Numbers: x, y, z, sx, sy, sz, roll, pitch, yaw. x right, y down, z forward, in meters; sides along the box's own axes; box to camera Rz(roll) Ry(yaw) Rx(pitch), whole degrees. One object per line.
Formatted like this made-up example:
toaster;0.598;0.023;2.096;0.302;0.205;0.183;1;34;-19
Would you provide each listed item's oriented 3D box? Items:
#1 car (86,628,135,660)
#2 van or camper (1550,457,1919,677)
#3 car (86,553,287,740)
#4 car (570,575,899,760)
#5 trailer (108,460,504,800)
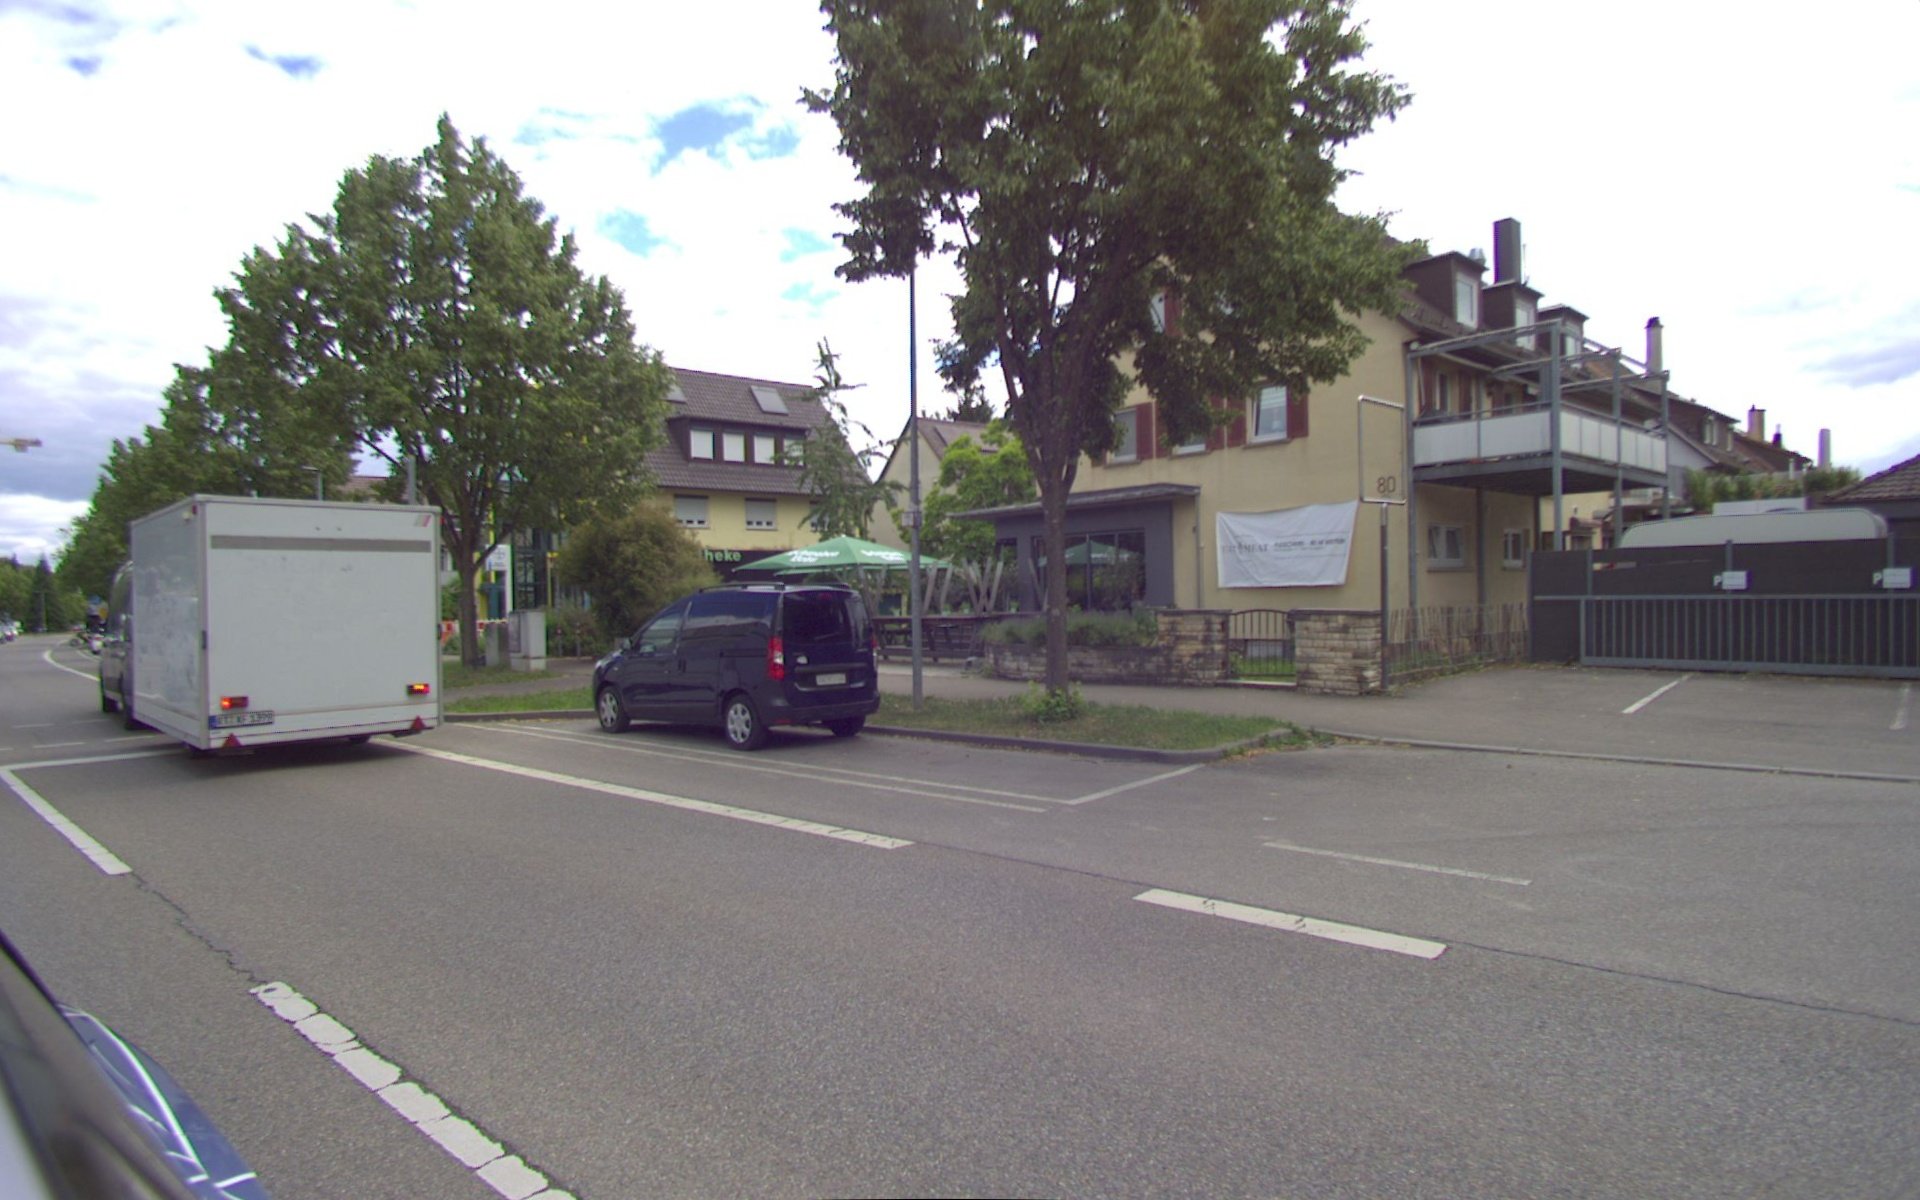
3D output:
car;-45.764;2.341;54.560;1.862;1.586;4.008;-1;-1;-38
van or camper;12.697;-0.415;15.338;2.564;2.905;5.946;-1;-1;-41
car;-12.845;0.682;16.596;2.035;2.499;6.320;-1;-1;-43
car;-2.904;0.731;12.420;4.397;1.888;1.689;-2;-1;42
trailer;-8.070;0.322;12.017;2.604;2.900;6.875;0;-1;-45
